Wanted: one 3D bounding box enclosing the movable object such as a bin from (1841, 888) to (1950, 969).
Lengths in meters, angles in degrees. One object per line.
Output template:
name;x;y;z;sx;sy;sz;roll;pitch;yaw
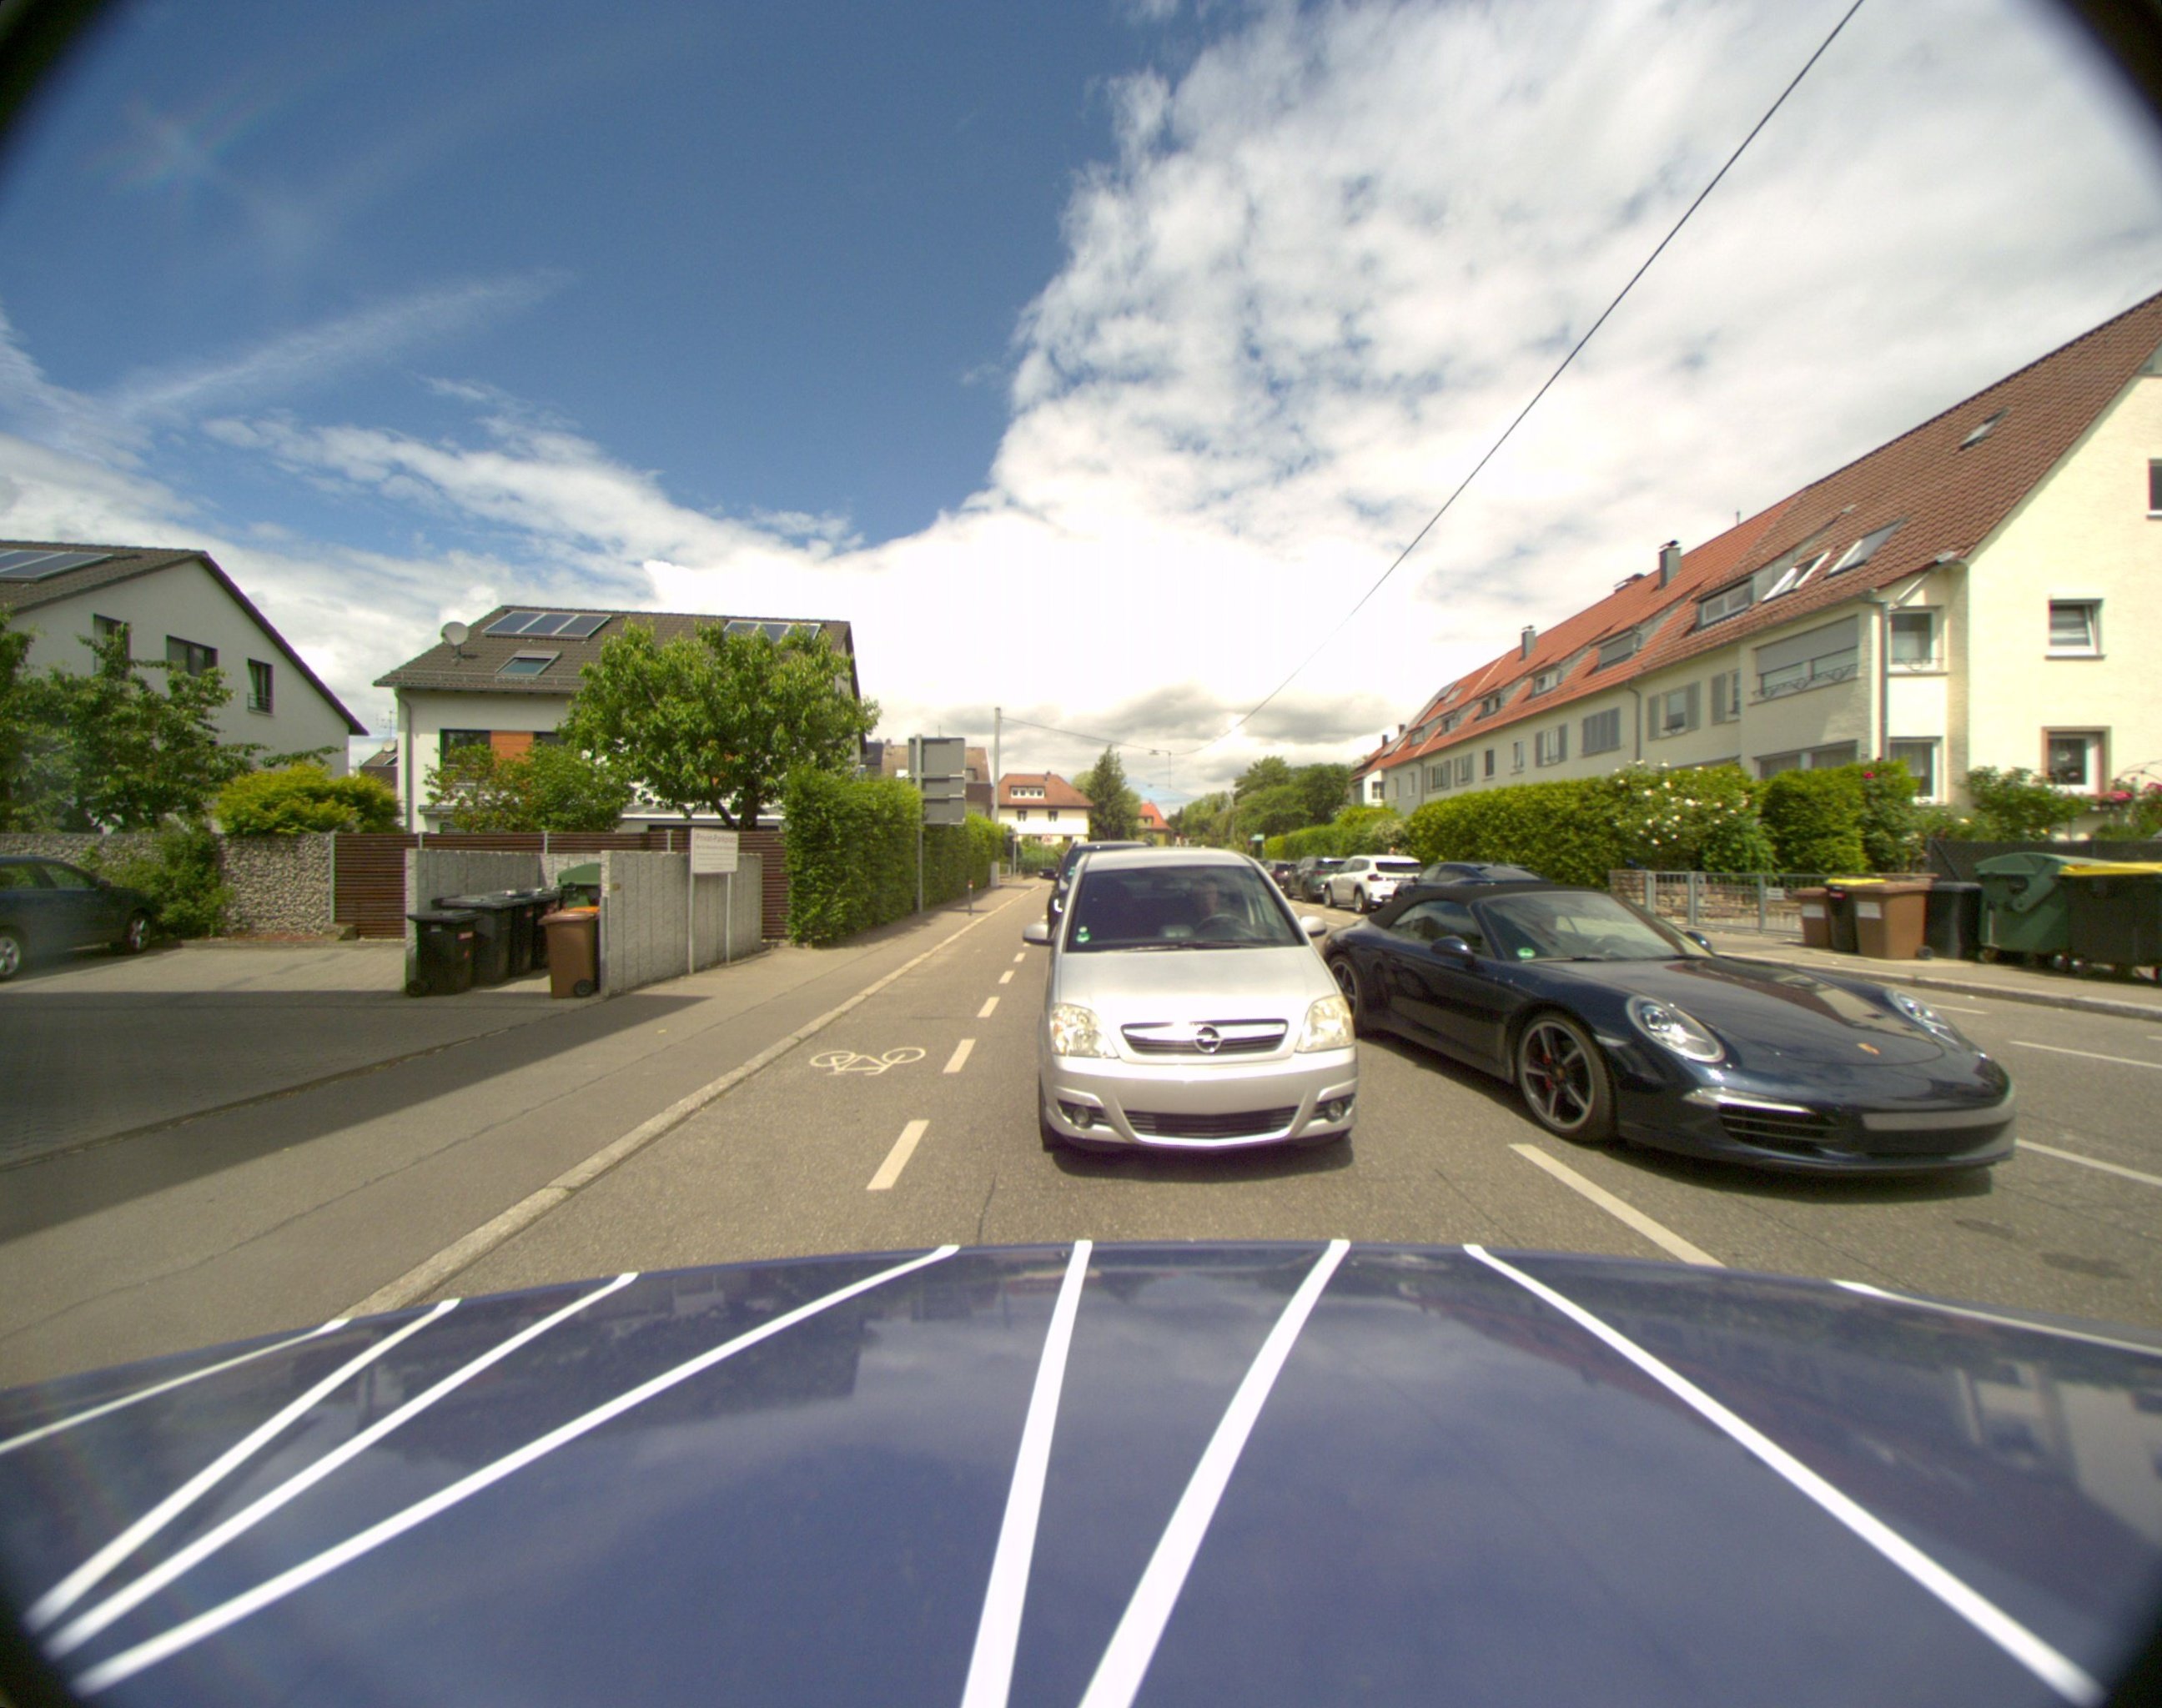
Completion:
movable object such as a bin;11.264;1.015;10.533;0.763;1.059;0.693;-1;1;7

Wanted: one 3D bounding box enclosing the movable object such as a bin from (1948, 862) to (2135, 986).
movable object such as a bin;11.902;0.829;9.460;1.092;1.438;0.981;-1;1;0

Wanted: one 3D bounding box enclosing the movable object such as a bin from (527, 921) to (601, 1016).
movable object such as a bin;-5.503;1.206;8.109;0.519;0.916;0.478;-1;1;-18

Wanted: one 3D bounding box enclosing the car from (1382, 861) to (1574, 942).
car;8.586;0.943;16.962;1.819;1.492;4.452;-1;0;-2

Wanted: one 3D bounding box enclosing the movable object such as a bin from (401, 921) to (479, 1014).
movable object such as a bin;-7.020;1.228;8.335;0.519;0.916;0.478;-1;1;-24

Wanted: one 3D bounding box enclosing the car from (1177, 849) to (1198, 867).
car;11.486;0.423;81.579;1.997;1.903;4.072;-1;0;11

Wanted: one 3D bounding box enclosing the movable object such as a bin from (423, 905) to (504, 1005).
movable object such as a bin;-7.149;1.150;8.825;0.596;1.069;0.488;-1;1;-24

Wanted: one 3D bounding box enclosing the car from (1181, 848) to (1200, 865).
car;12.814;0.286;88.725;1.997;1.903;4.072;-1;0;11

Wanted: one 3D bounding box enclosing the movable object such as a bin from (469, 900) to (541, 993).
movable object such as a bin;-7.127;1.131;9.426;0.596;1.069;0.488;-1;1;-24

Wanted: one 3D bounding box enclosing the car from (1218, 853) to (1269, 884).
car;9.275;0.792;43.612;1.998;1.623;4.236;-1;0;0

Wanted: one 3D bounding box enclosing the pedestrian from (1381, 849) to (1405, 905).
pedestrian;10.249;0.749;24.983;0.533;1.805;0.511;-1;1;-4

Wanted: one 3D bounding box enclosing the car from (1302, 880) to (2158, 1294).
car;3.156;0.934;4.929;1.816;1.356;4.041;-1;0;-8

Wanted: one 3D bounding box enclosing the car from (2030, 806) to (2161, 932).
car;19.205;0.199;12.767;3.997;2.002;2.000;-1;0;0

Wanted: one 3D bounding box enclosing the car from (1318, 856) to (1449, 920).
car;8.542;0.887;21.925;1.998;1.623;4.453;-1;0;0

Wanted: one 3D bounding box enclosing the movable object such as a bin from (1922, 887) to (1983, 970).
movable object such as a bin;11.920;0.994;10.390;0.657;1.059;0.522;-1;1;-39

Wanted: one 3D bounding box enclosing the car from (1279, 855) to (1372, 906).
car;8.618;0.878;27.192;1.998;1.623;4.236;-1;0;0

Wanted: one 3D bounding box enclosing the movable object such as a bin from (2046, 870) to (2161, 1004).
movable object such as a bin;11.812;0.874;8.376;1.092;1.354;0.981;-1;1;0

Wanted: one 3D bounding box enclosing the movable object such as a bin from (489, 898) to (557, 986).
movable object such as a bin;-7.284;1.135;9.939;0.596;1.069;0.488;-1;1;-24

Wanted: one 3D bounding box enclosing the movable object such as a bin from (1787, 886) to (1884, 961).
movable object such as a bin;11.198;1.018;11.300;0.763;1.059;0.693;-1;1;7

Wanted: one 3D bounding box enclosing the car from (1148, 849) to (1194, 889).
car;4.468;0.710;38.259;1.998;1.903;4.070;-1;0;2

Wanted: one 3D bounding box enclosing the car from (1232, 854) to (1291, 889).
car;9.000;0.846;38.253;1.998;1.623;4.236;-1;0;0

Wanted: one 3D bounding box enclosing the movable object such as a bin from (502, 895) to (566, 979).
movable object such as a bin;-7.497;1.123;10.429;0.596;1.069;0.488;-1;1;-24

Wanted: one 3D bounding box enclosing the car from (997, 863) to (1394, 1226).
car;0.537;0.894;5.453;1.774;1.566;4.001;-1;0;0

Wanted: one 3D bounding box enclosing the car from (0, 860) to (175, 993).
car;-14.854;0.923;10.168;2.003;1.587;3.991;-1;1;-26

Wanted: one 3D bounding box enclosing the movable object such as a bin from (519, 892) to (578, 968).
movable object such as a bin;-8.010;1.131;11.445;0.596;1.069;0.488;-1;1;-19

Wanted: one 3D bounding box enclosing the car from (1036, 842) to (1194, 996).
car;0.355;0.786;11.834;1.887;1.838;5.219;-1;0;-1

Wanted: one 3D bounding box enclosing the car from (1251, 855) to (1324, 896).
car;8.756;0.870;32.551;1.998;1.623;4.236;0;0;0

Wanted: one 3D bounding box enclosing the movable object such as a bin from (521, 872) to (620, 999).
movable object such as a bin;-6.061;0.952;9.041;0.809;1.446;0.479;-1;1;-4
